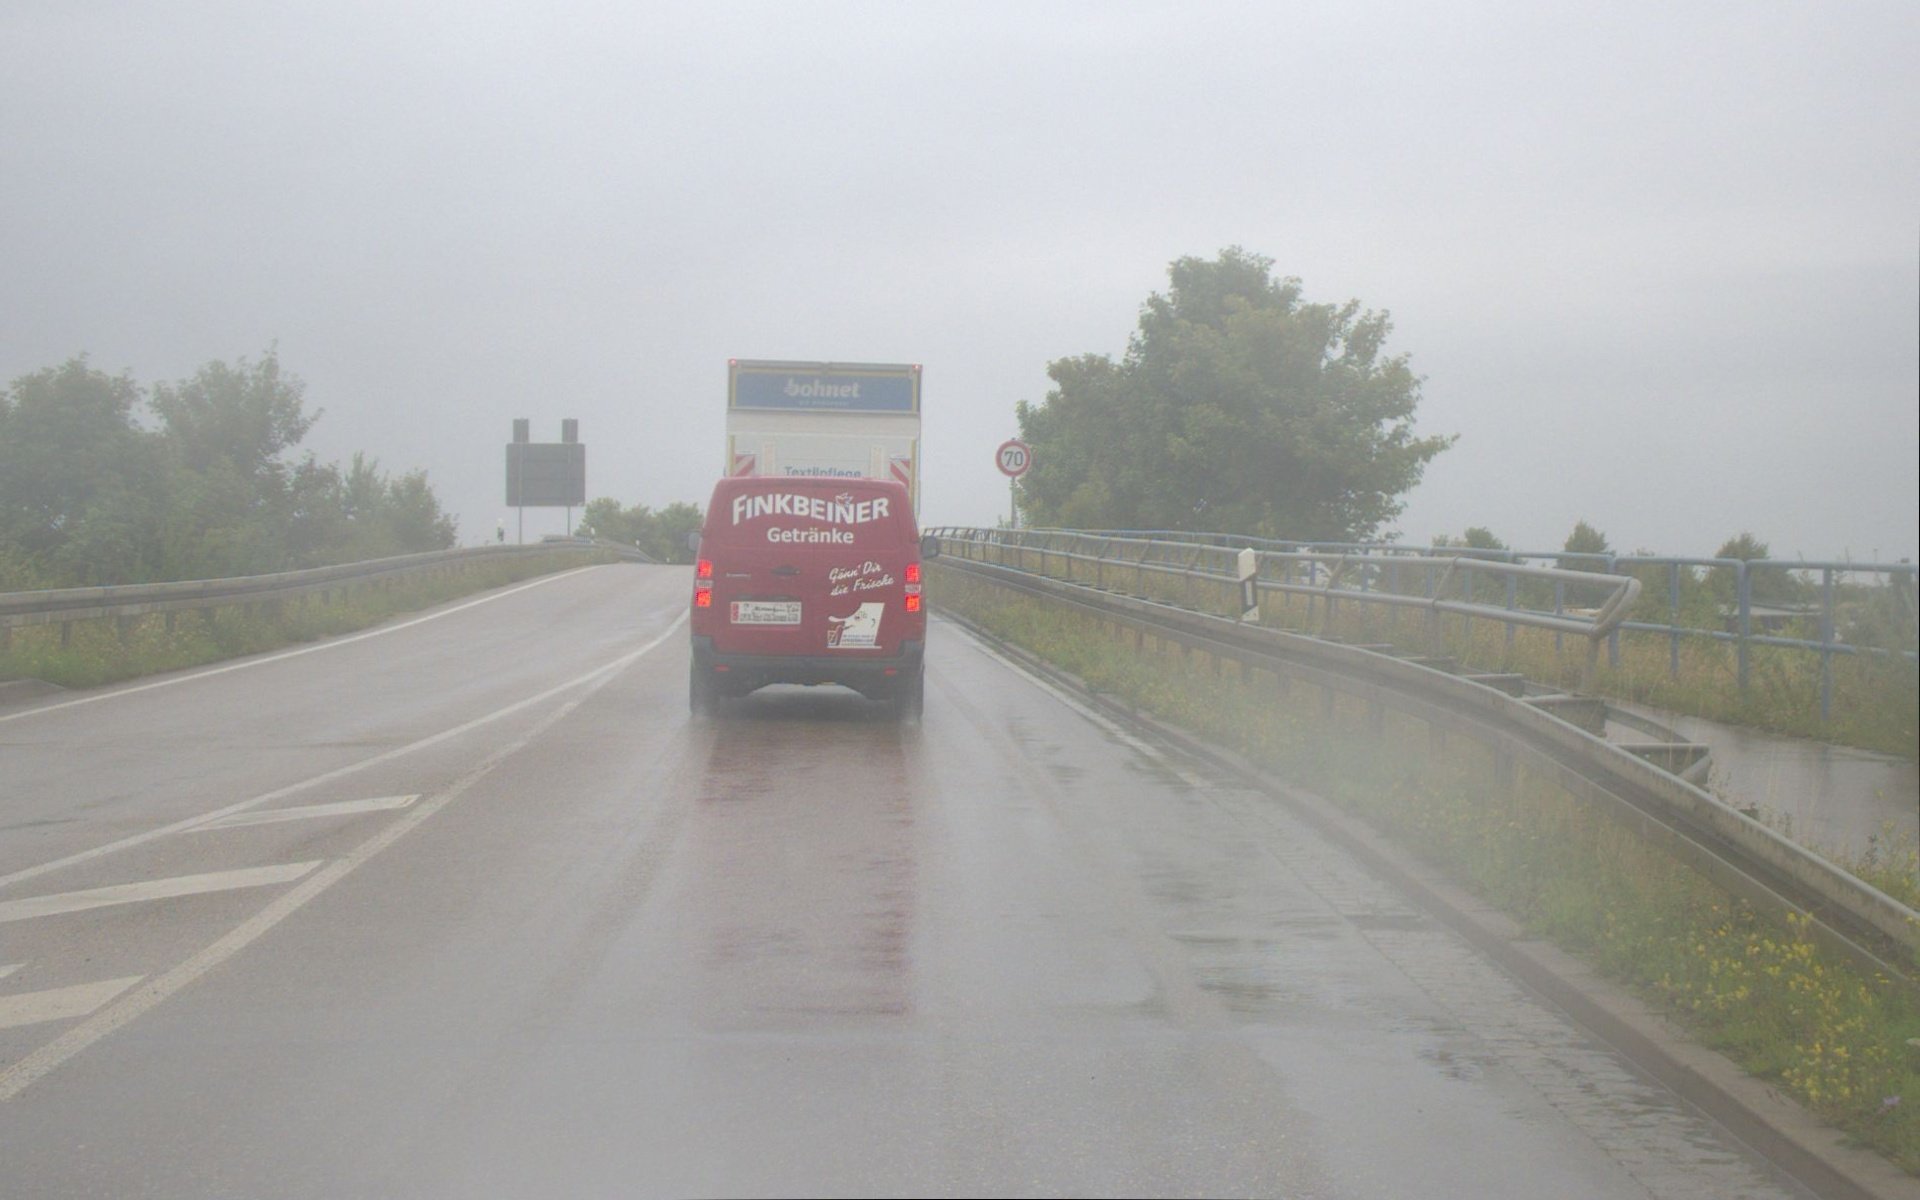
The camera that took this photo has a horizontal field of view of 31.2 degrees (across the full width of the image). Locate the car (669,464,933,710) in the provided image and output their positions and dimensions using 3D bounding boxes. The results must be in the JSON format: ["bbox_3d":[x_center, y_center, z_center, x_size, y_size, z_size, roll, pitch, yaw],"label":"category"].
[{"bbox_3d":[-1.292,-0.151,28.682,1.993,1.864,4.979,0,1,-2],"label":"car"}]

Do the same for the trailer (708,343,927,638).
[{"bbox_3d":[-1.979,-1.474,49.383,2.832,3.806,9.715,0,1,-2],"label":"trailer"}]
